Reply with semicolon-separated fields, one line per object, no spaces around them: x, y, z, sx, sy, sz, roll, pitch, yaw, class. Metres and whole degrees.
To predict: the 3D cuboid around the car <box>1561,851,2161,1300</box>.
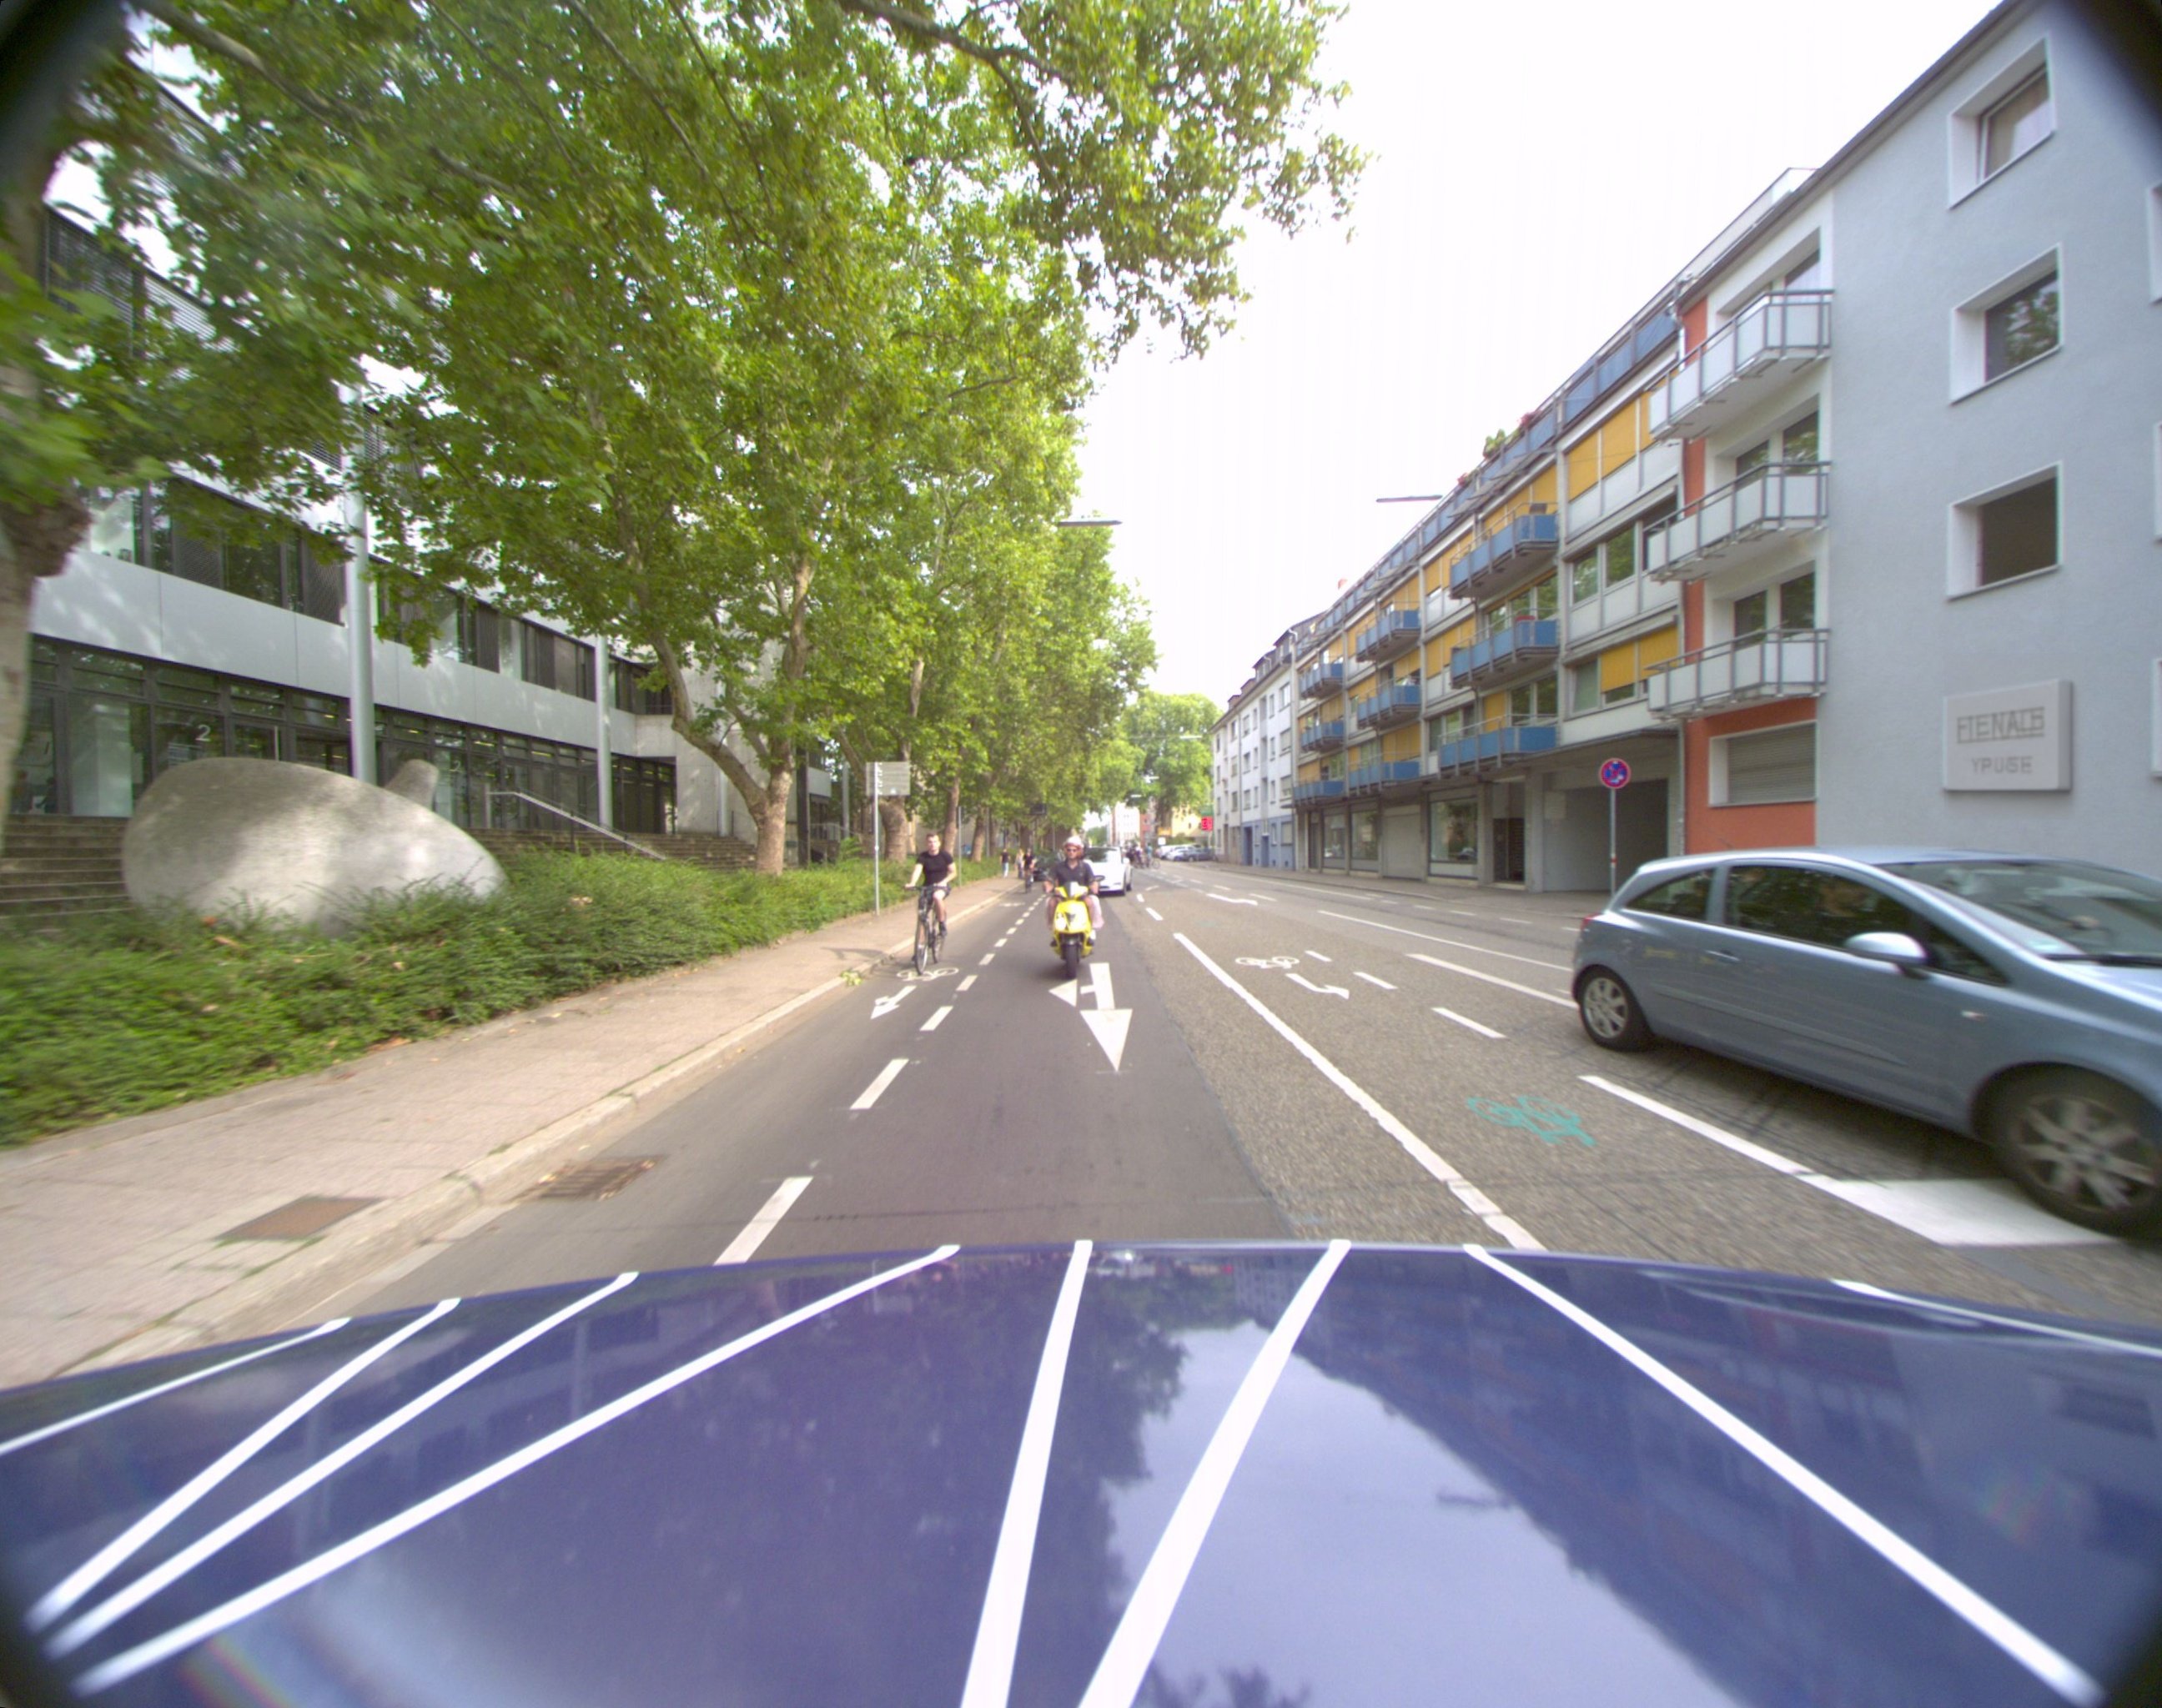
4.393;0.733;3.714;1.673;1.430;3.819;-1;1;0;car

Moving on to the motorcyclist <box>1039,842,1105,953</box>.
-0.108;0.566;10.174;0.781;1.419;0.689;-2;0;2;motorcyclist

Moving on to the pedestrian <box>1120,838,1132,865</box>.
3.443;-0.206;58.385;0.842;2.002;0.875;-3;1;4;pedestrian

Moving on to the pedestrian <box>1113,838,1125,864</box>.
3.026;-0.210;60.349;0.842;2.002;0.875;-3;1;4;pedestrian

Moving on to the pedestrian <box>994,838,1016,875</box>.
-4.265;0.118;42.788;1.003;2.002;0.997;-3;1;2;pedestrian

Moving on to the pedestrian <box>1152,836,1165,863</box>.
5.924;-0.315;57.950;0.842;2.002;0.875;-3;1;4;pedestrian

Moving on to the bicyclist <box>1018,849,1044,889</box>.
-1.895;0.570;28.774;0.784;1.438;0.914;-3;1;4;bicyclist

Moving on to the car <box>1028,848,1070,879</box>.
-1.670;0.479;41.469;1.998;1.533;4.271;-3;1;1;car

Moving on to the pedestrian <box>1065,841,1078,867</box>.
-0.702;-0.011;58.083;0.842;2.002;0.875;-3;1;4;pedestrian

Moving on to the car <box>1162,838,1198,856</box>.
11.890;-0.856;91.296;3.997;2.002;2.000;-3;1;0;car

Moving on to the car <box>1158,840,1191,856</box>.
12.324;-0.810;100.570;3.997;2.002;2.000;-3;1;0;car

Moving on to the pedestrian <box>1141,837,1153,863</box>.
5.234;-0.310;60.172;0.842;2.002;0.875;-3;1;4;pedestrian

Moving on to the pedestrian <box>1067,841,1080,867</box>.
-0.593;-0.033;59.490;0.842;2.002;0.875;-3;1;4;pedestrian

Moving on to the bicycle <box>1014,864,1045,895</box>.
-1.921;0.937;28.695;0.770;1.009;2.408;-2;1;6;bicycle

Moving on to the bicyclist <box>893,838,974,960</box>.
-1.998;0.591;10.384;0.772;1.574;0.802;-3;1;8;bicyclist

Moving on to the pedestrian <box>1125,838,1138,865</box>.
3.826;-0.215;57.651;0.842;2.002;0.875;-3;1;4;pedestrian

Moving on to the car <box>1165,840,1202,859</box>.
11.898;-0.545;88.607;3.997;2.002;2.000;-3;1;0;car

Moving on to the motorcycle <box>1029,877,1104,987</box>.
-0.133;0.927;9.668;0.781;1.171;1.993;-2;0;3;motorcycle

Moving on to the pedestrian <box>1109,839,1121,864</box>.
2.736;-0.206;61.175;0.842;2.002;0.875;-3;1;4;pedestrian

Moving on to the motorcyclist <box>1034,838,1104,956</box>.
-0.137;0.528;9.687;0.781;1.419;0.764;-2;0;2;motorcyclist

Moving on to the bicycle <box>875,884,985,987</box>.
-1.986;1.044;10.349;0.772;1.124;2.005;-3;1;8;bicycle

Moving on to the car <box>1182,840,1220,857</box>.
13.247;-0.634;83.854;3.870;1.678;1.882;-3;1;0;car

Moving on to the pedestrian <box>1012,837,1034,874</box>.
-3.241;0.091;42.713;1.003;2.002;0.997;-3;1;2;pedestrian

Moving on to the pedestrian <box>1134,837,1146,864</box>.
4.672;-0.278;59.721;0.842;2.002;0.875;-3;1;4;pedestrian

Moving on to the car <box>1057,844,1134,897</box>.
0.600;0.491;25.824;1.997;1.543;4.523;-3;1;9;car

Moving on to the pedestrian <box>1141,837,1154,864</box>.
5.059;-0.274;57.845;0.842;2.002;0.875;-3;1;4;pedestrian

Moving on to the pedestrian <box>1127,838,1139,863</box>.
4.190;-0.277;61.488;0.842;2.002;0.875;-3;1;4;pedestrian
